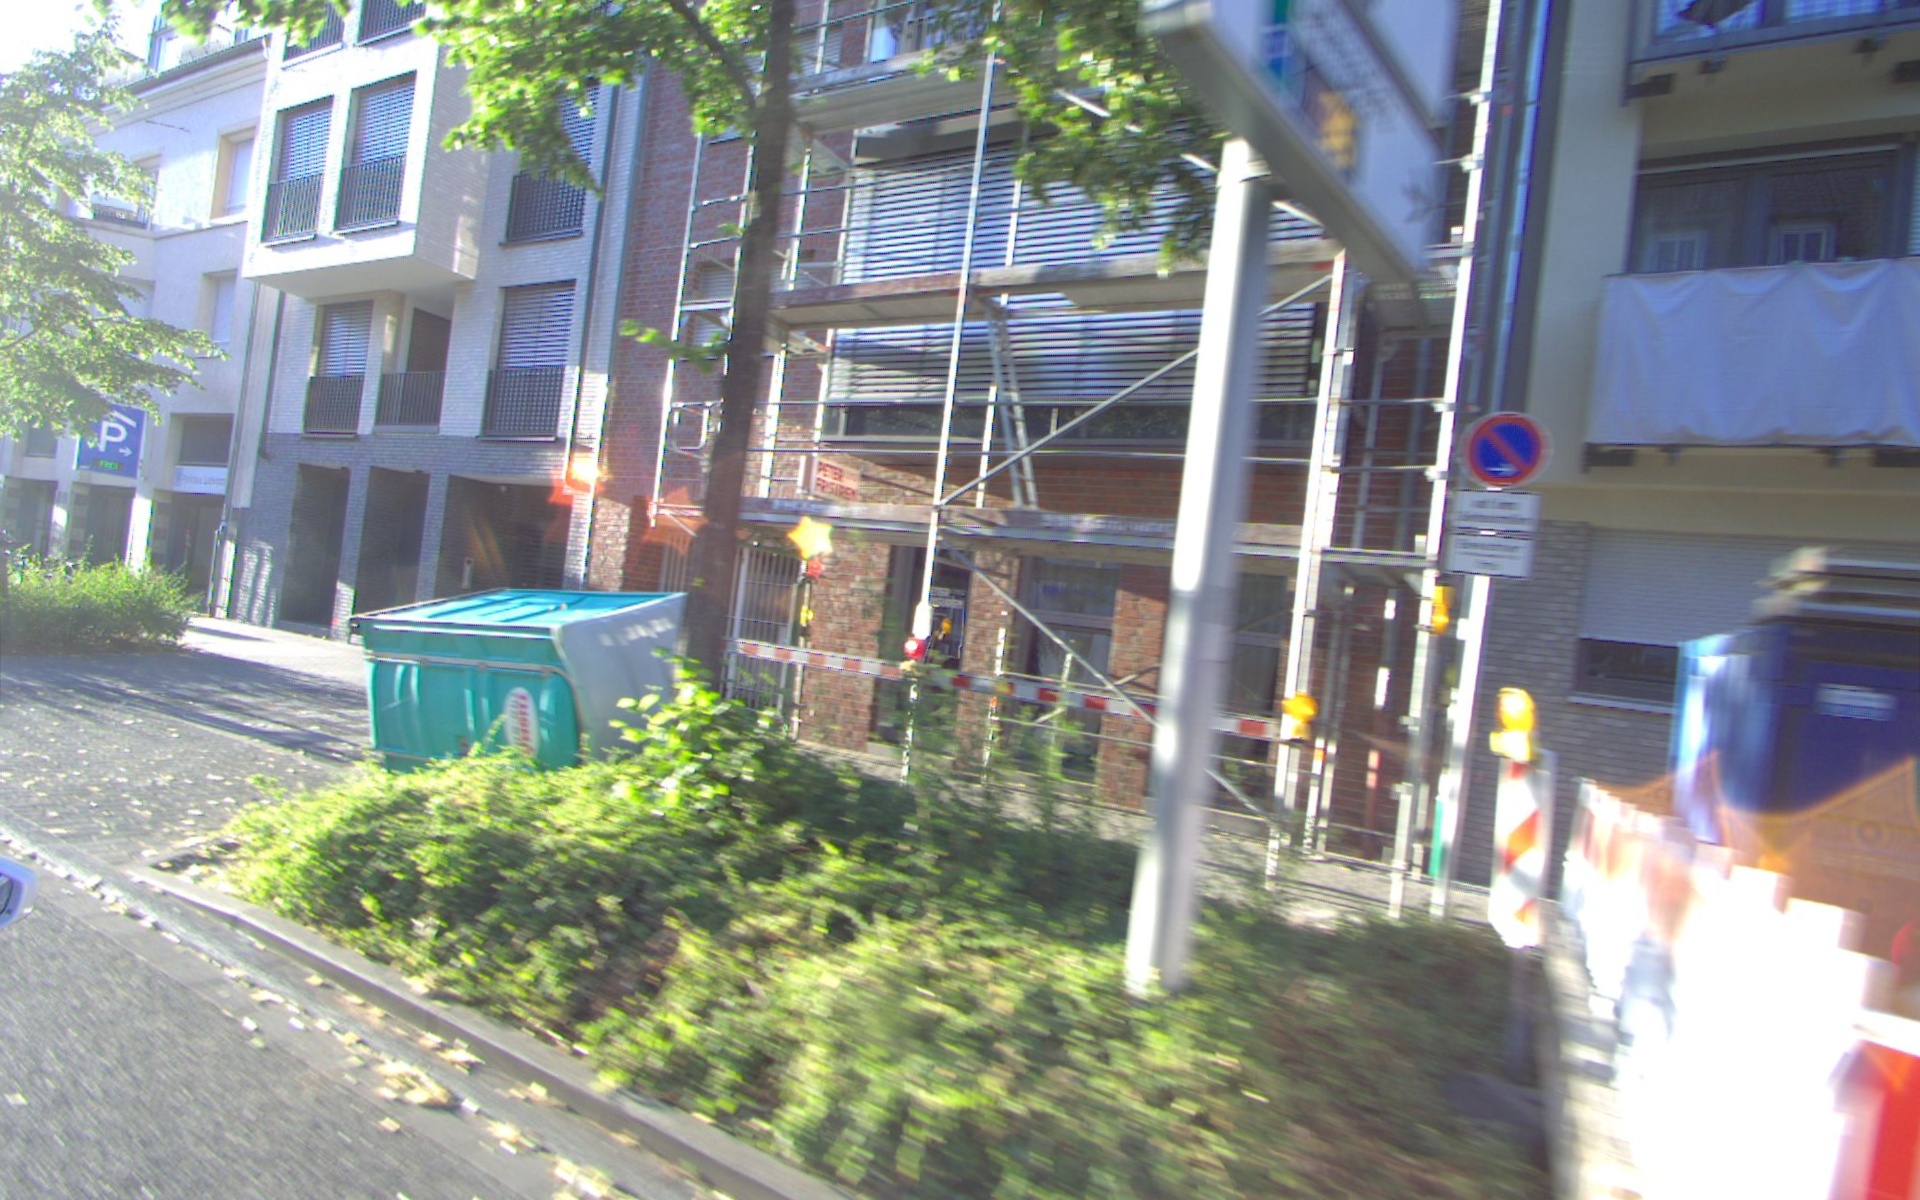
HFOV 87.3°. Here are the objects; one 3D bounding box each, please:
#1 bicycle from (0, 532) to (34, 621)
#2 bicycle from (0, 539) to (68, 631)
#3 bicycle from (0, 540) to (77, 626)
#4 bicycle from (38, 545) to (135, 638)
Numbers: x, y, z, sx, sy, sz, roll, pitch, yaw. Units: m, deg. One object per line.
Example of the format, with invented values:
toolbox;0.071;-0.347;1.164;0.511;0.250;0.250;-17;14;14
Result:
bicycle;-13.801;-0.388;14.266;1.496;1.203;0.383;6;-2;27
bicycle;-12.707;-0.230;13.529;1.495;1.113;0.383;6;0;24
bicycle;-13.430;-0.262;14.551;1.496;1.113;0.382;5;-1;27
bicycle;-11.990;-0.125;13.800;1.496;1.113;0.382;6;0;27
